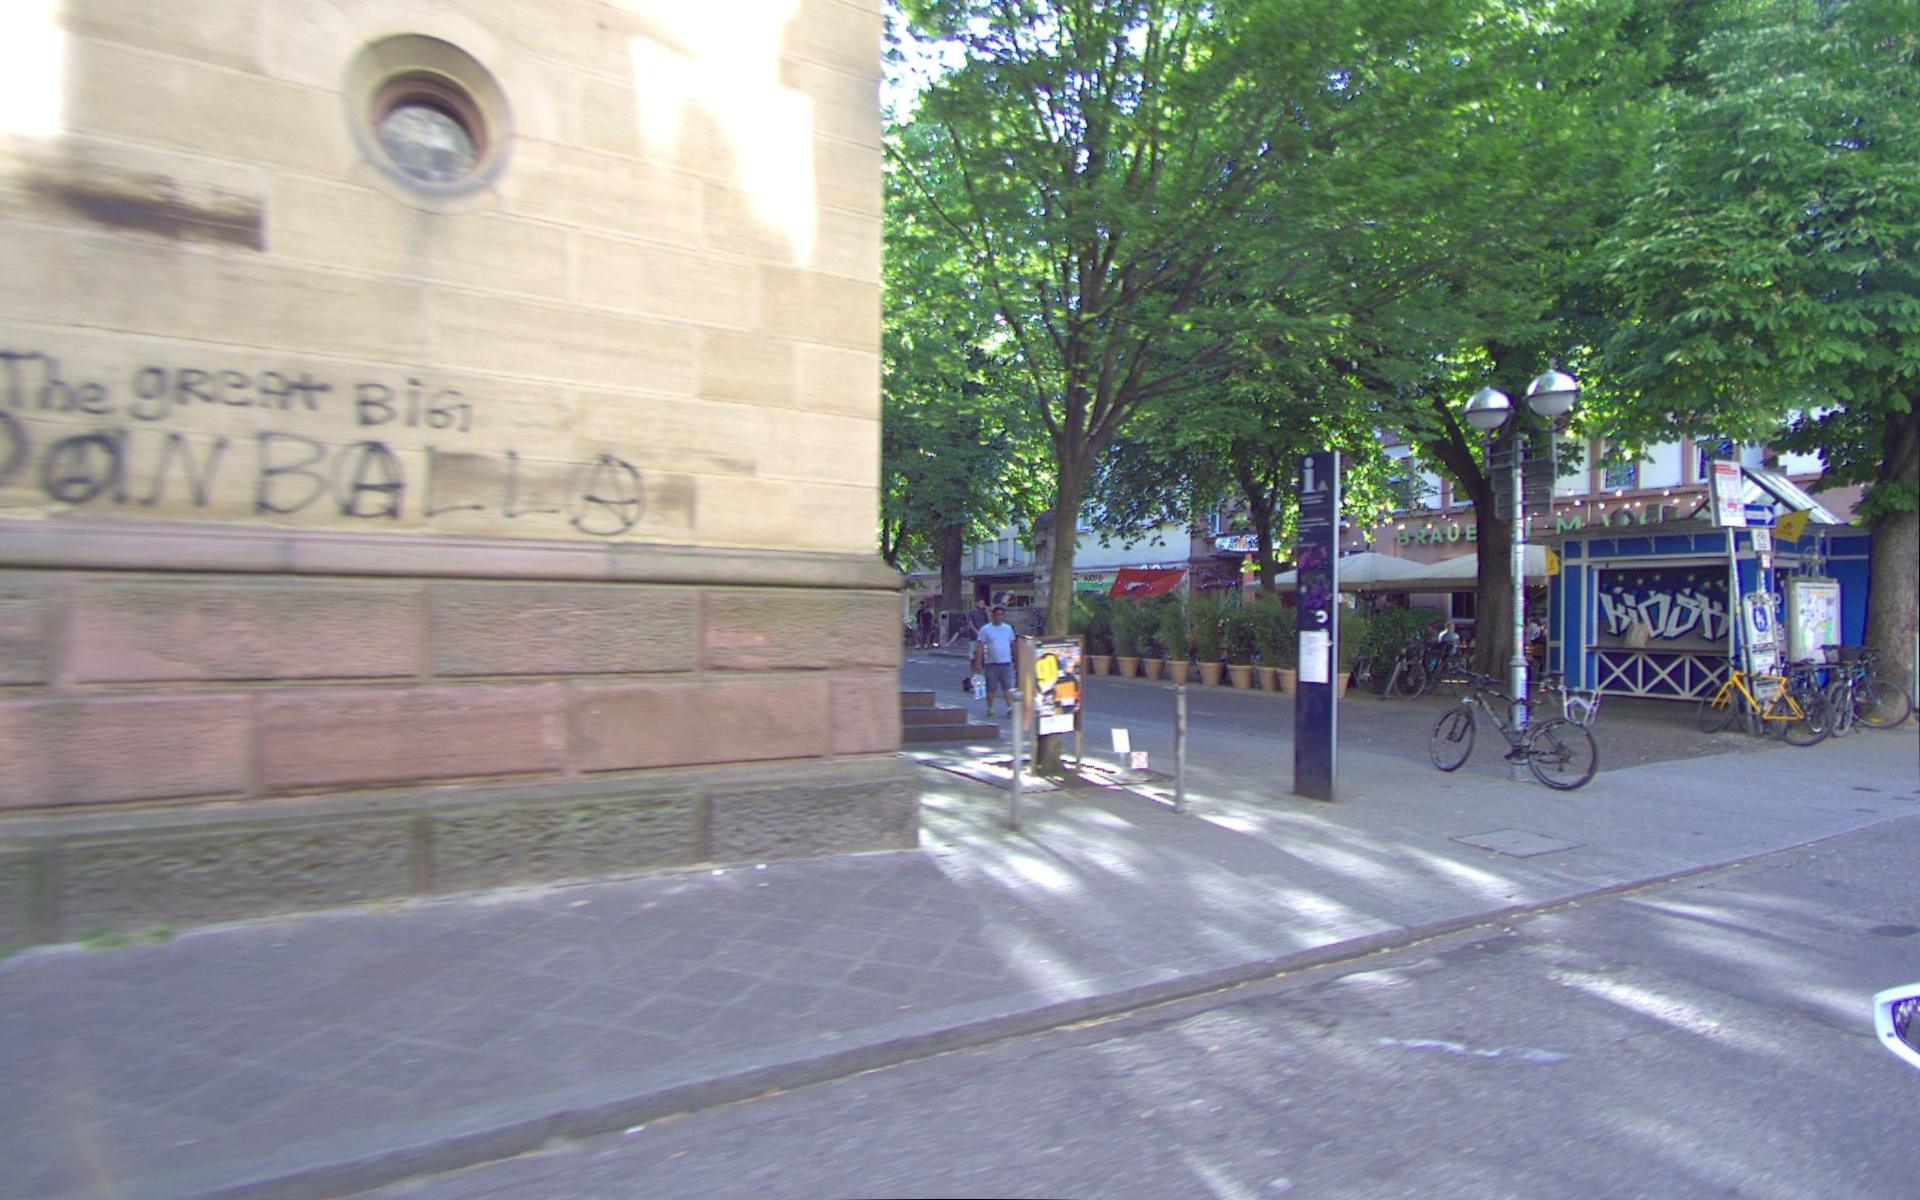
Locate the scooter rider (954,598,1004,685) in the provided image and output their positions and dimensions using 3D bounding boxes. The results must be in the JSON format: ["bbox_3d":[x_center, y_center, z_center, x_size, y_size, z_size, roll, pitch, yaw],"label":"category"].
[{"bbox_3d":[0.375,0.817,20.016,0.712,1.670,0.684,2,0,-31],"label":"scooter rider"}]

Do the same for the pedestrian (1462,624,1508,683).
[{"bbox_3d":[12.408,1.263,23.747,0.604,1.338,0.696,2,0,-21],"label":"pedestrian"}]

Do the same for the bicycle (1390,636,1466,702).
[{"bbox_3d":[8.561,1.235,18.342,1.914,1.106,0.227,-1,1,-31],"label":"bicycle"}]

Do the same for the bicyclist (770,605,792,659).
[{"bbox_3d":[-6.070,1.075,34.028,0.494,1.785,0.683,2,0,10],"label":"bicyclist"}]

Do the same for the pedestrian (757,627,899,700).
[{"bbox_3d":[-1.562,0.728,11.838,1.390,0.770,0.952,2,0,-30],"label":"pedestrian"}]

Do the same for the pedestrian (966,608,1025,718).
[{"bbox_3d":[0.538,0.948,15.283,0.707,1.614,0.476,2,0,-32],"label":"pedestrian"}]

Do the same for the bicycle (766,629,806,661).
[{"bbox_3d":[-6.023,1.543,34.937,0.478,1.003,2.767,2,0,9],"label":"bicycle"}]

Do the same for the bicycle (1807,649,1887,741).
[{"bbox_3d":[11.489,1.203,13.000,1.560,1.097,0.291,0,1,-30],"label":"bicycle"}]

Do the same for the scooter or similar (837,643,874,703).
[{"bbox_3d":[-1.879,1.300,18.032,0.497,1.019,0.730,2,0,-18],"label":"scooter or similar"}]

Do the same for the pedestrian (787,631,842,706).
[{"bbox_3d":[-2.492,1.163,17.237,0.732,1.248,0.610,2,0,-30],"label":"pedestrian"}]

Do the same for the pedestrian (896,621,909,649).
[{"bbox_3d":[-2.441,1.491,42.669,0.407,1.165,0.427,2,0,-30],"label":"pedestrian"}]

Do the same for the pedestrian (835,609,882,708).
[{"bbox_3d":[-1.740,0.992,17.257,0.546,1.653,0.554,2,0,-42],"label":"pedestrian"}]

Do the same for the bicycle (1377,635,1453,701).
[{"bbox_3d":[8.430,1.232,18.560,1.914,1.106,0.227,-1,2,-31],"label":"bicycle"}]

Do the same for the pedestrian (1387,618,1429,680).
[{"bbox_3d":[9.895,1.074,22.182,0.627,1.338,0.565,2,0,-30],"label":"pedestrian"}]

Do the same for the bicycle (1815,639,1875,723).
[{"bbox_3d":[13.435,1.192,15.227,2.023,1.146,0.492,1,1,-44],"label":"bicycle"}]

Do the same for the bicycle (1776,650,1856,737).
[{"bbox_3d":[11.317,1.212,13.273,1.559,1.060,0.291,0,1,-30],"label":"bicycle"}]

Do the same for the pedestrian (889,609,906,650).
[{"bbox_3d":[-2.587,1.238,41.678,0.583,1.685,0.312,2,0,-30],"label":"pedestrian"}]

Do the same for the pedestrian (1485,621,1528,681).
[{"bbox_3d":[12.553,1.164,23.069,0.625,1.338,0.597,2,0,-24],"label":"pedestrian"}]

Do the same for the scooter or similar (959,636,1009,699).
[{"bbox_3d":[0.467,1.321,19.934,0.508,1.175,1.049,2,0,-30],"label":"scooter or similar"}]

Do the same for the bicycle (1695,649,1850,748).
[{"bbox_3d":[10.201,1.204,12.681,0.341,1.097,1.572,2,0,-18],"label":"bicycle"}]

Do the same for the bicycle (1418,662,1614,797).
[{"bbox_3d":[5.268,1.185,9.624,0.343,1.079,1.681,2,0,-31],"label":"bicycle"}]
